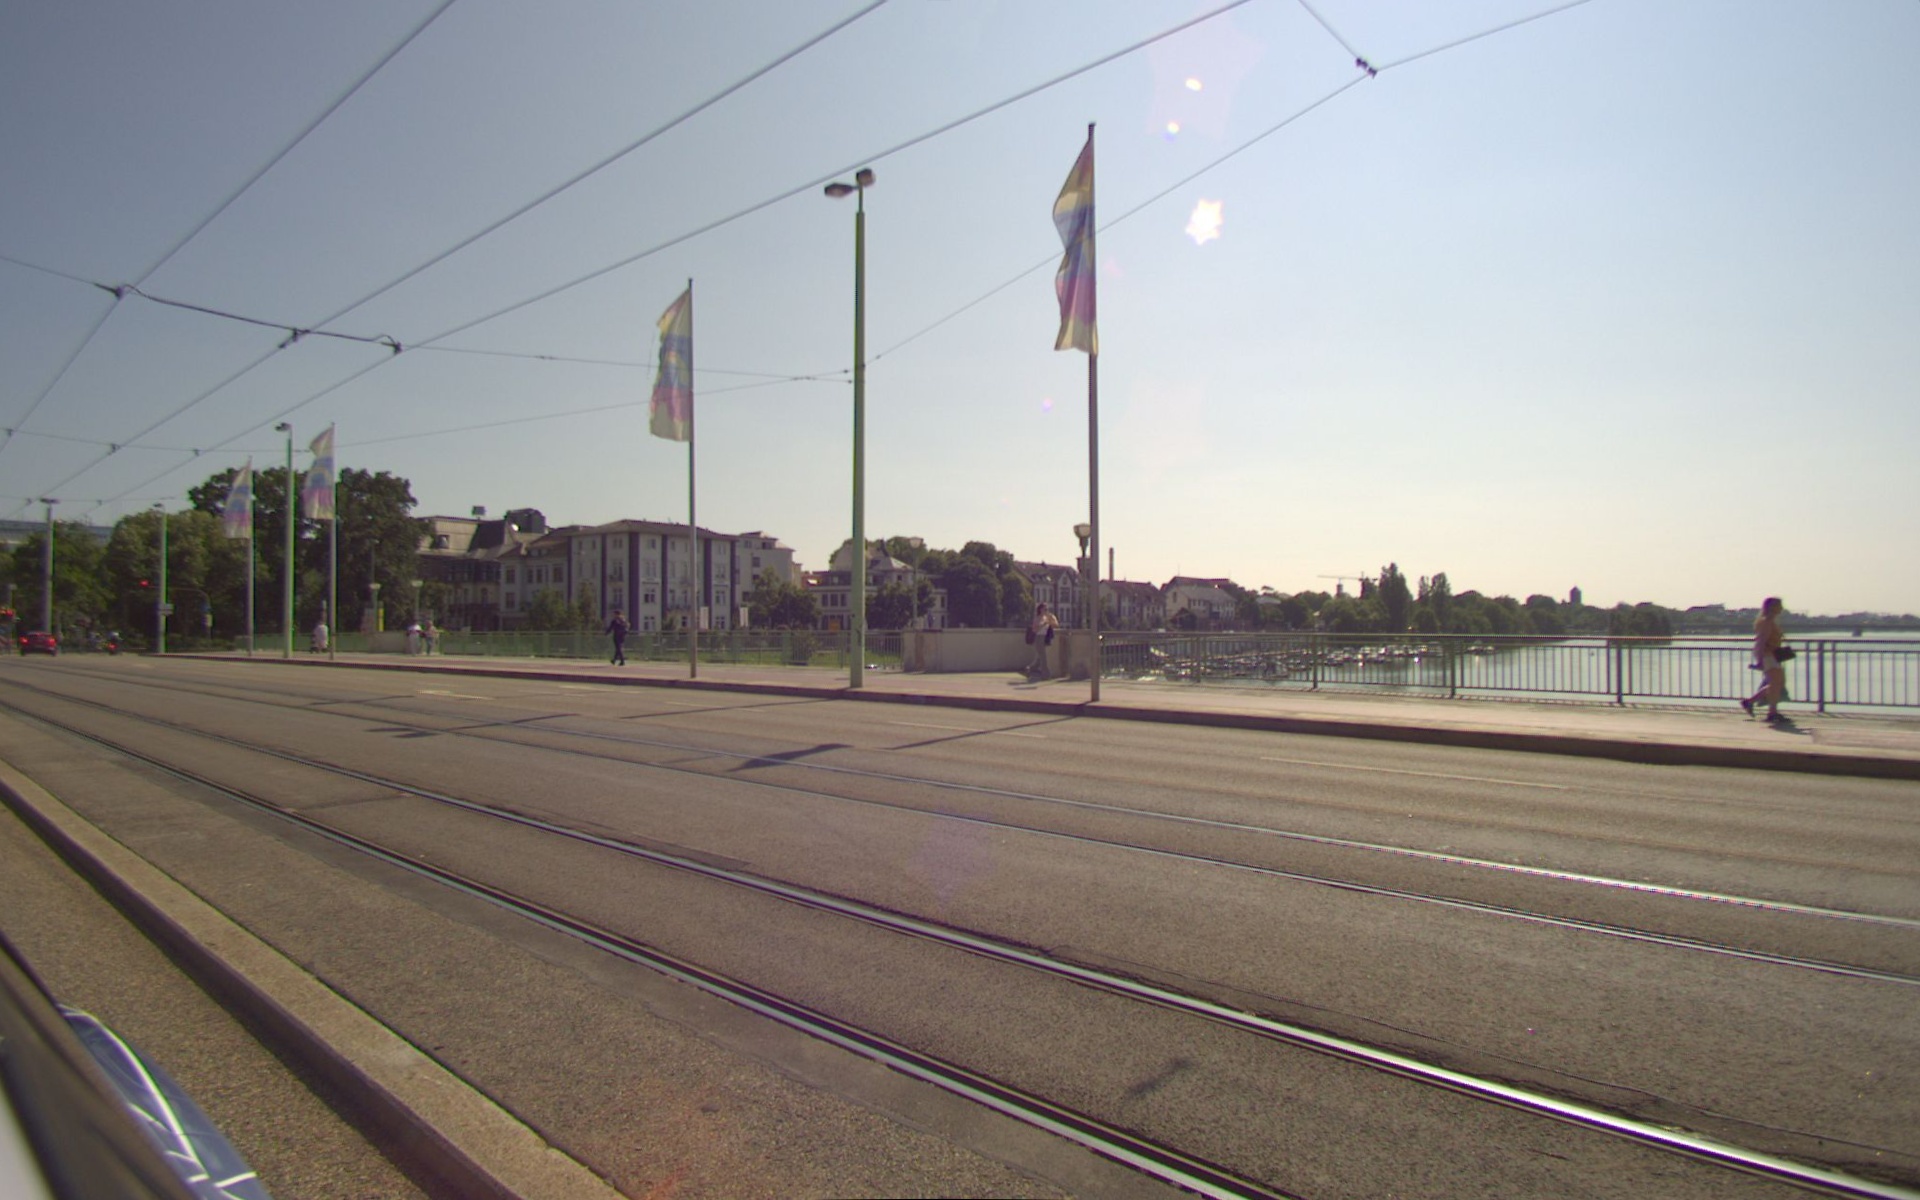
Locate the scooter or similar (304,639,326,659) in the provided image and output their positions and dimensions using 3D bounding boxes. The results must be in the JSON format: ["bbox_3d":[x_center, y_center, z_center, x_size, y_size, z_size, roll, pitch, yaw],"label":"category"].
[{"bbox_3d":[-34.788,2.645,54.558,0.831,1.037,0.732,-2,1,38],"label":"scooter or similar"}]

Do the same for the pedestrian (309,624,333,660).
[{"bbox_3d":[-34.098,2.219,53.983,0.974,1.867,0.732,-2,1,38],"label":"pedestrian"}]

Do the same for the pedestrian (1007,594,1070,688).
[{"bbox_3d":[1.740,0.898,22.447,1.041,2.029,0.890,-2,-2,38],"label":"pedestrian"}]

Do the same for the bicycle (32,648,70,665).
[{"bbox_3d":[-64.057,3.987,71.312,1.888,1.122,0.763,1,-2,-33],"label":"bicycle"}]

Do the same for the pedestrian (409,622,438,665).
[{"bbox_3d":[-24.093,1.931,45.441,1.120,1.863,0.731,-1,1,38],"label":"pedestrian"}]

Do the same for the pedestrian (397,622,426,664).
[{"bbox_3d":[-24.352,1.902,44.909,0.956,1.798,0.732,-2,1,38],"label":"pedestrian"}]

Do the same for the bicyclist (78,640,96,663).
[{"bbox_3d":[-63.267,3.735,73.322,0.772,1.621,0.867,-4,-5,43],"label":"bicyclist"}]

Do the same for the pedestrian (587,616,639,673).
[{"bbox_3d":[-11.115,1.412,32.419,1.293,1.772,1.087,-2,-2,38],"label":"pedestrian"}]

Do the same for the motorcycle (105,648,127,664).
[{"bbox_3d":[-57.415,3.824,68.823,1.950,1.032,0.836,-2,-1,40],"label":"motorcycle"}]

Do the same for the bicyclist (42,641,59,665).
[{"bbox_3d":[-64.068,3.735,71.315,0.759,1.621,0.882,1,-2,-33],"label":"bicyclist"}]

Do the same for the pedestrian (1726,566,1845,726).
[{"bbox_3d":[11.004,0.607,13.539,1.099,2.029,0.960,-2,-2,35],"label":"pedestrian"}]

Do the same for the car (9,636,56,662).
[{"bbox_3d":[-59.733,3.119,65.167,4.191,1.526,1.971,-2,-2,44],"label":"car"}]

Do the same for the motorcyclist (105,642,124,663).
[{"bbox_3d":[-57.655,3.577,69.017,0.897,1.412,0.836,-2,-1,38],"label":"motorcyclist"}]

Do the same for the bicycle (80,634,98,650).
[{"bbox_3d":[-63.073,3.010,73.266,1.920,1.122,0.750,-2,-2,43],"label":"bicycle"}]
